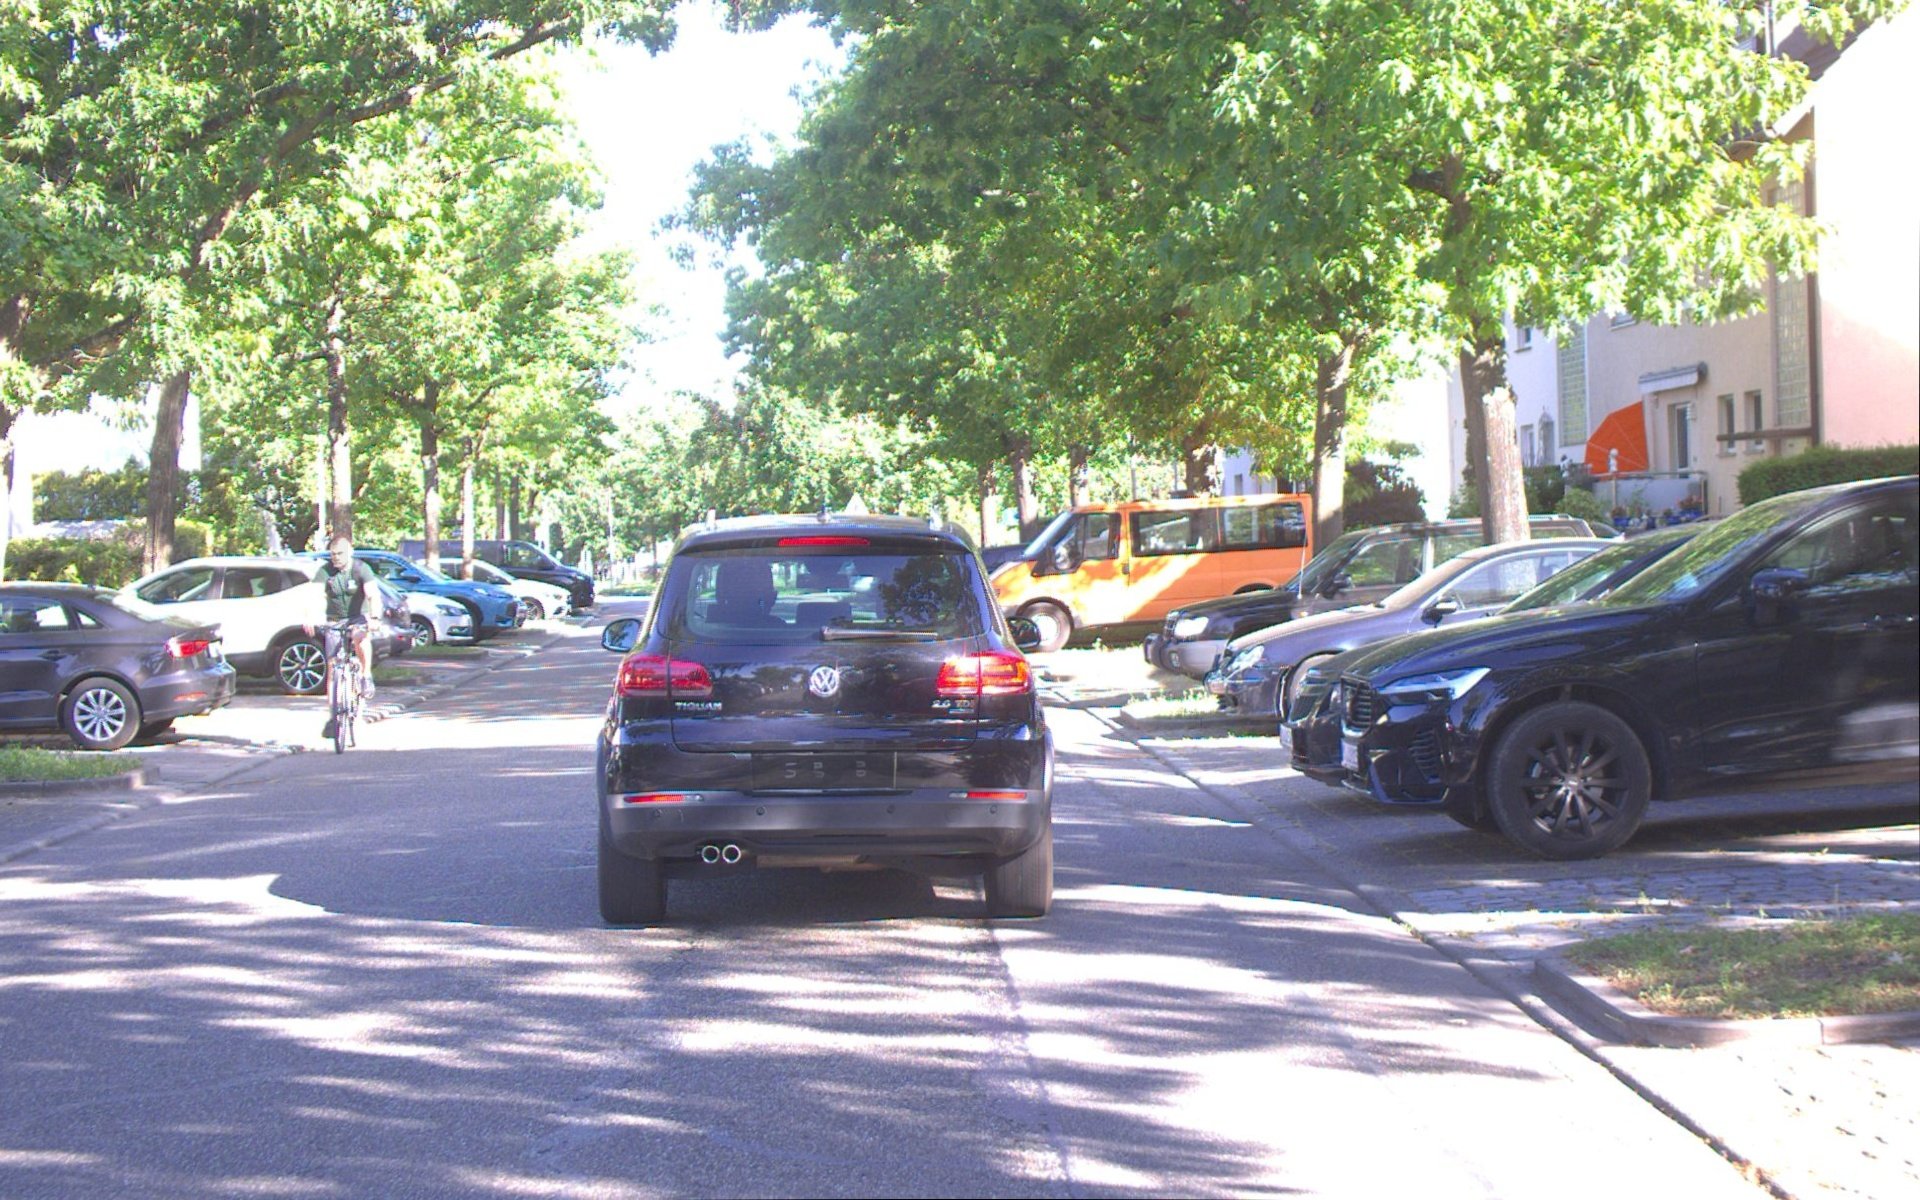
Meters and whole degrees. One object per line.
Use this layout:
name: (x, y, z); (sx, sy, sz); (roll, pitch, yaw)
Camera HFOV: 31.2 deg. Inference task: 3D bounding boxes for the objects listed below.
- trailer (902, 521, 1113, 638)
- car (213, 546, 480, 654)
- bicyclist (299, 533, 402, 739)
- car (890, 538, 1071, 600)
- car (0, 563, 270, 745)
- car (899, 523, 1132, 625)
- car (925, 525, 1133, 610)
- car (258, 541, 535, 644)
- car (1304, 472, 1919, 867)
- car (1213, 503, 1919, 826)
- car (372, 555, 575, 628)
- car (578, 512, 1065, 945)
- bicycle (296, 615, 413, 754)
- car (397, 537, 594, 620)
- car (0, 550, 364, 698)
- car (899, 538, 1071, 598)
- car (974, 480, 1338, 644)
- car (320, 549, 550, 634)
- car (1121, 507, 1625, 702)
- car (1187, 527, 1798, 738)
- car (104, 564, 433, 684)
trailer: (0.704, -0.324, 52.589); (2.945, 1.658, 1.615); (-2, 1, -9)
car: (-9.858, -0.001, 55.485); (3.986, 1.590, 1.857); (-2, 0, -3)
bicyclist: (-5.128, 0.287, 28.971); (0.596, 1.668, 0.975); (-4, 1, -1)
car: (0.485, -0.766, 85.804); (4.345, 1.358, 1.874); (-2, 0, -4)
car: (-8.281, 0.487, 29.896); (4.210, 1.466, 1.691); (-2, 1, -3)
car: (0.949, -0.460, 60.479); (3.987, 1.618, 1.757); (-2, 1, -1)
car: (1.316, -0.640, 66.807); (3.882, 1.511, 1.661); (-2, 1, -3)
car: (-9.775, -0.125, 59.925); (4.523, 1.625, 1.937); (-2, 0, -3)
car: (4.095, 0.240, 16.502); (4.573, 1.641, 1.838); (-3, 1, -2)
car: (3.734, 0.318, 19.483); (4.319, 1.524, 1.841); (-3, 1, -3)
car: (-10.770, -0.199, 76.353); (4.275, 1.473, 1.769); (-2, 1, -3)
car: (-0.564, 0.469, 15.100); (1.838, 1.631, 3.958); (-1, 1, -1)
bicycle: (-5.091, 0.692, 29.013); (0.596, 1.055, 1.986); (-4, 1, -1)
car: (-11.722, -0.555, 87.017); (4.778, 1.910, 2.019); (-2, 1, -5)
car: (-9.247, 0.271, 40.261); (4.187, 1.561, 1.792); (-2, 1, -1)
car: (0.623, -0.834, 88.811); (4.276, 1.409, 1.797); (-2, 1, -3)
car: (2.688, -0.543, 47.995); (4.818, 2.076, 2.086); (-2, 1, -3)
car: (-10.094, -0.165, 66.318); (4.182, 1.487, 1.647); (-2, 0, -3)
car: (3.796, 0.024, 32.076); (4.337, 1.555, 1.868); (-3, 1, -3)
car: (4.076, 0.231, 26.795); (4.427, 1.327, 1.691); (-3, 1, 0)
car: (-9.135, 0.298, 45.661); (4.033, 1.418, 1.810); (-2, 1, -4)
